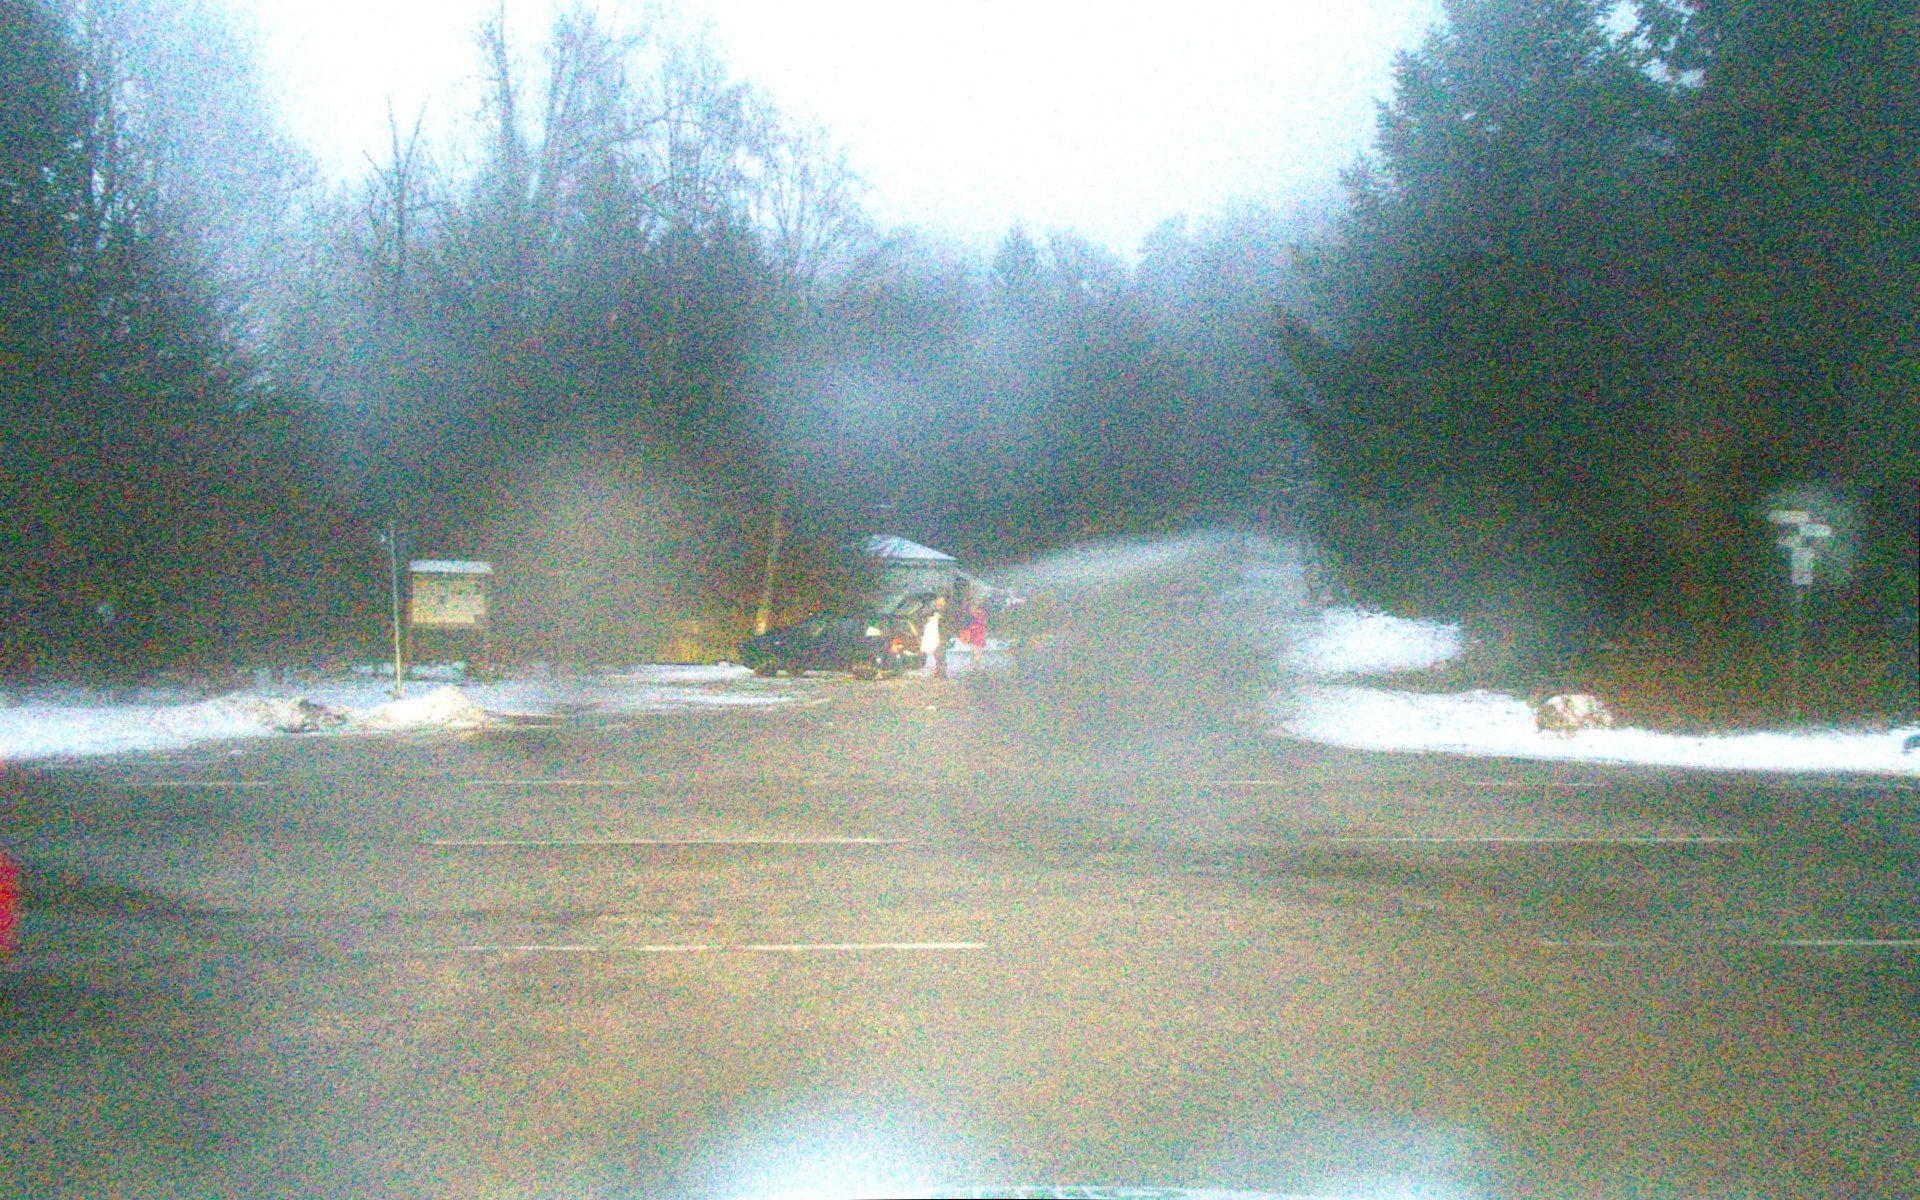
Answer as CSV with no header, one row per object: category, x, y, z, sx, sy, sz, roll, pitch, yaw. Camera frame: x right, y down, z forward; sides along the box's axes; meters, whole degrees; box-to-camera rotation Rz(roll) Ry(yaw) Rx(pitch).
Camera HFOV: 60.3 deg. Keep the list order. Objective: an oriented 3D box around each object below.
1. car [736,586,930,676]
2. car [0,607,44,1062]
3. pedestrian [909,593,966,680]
car,-2.848,0.697,37.362,3.864,1.914,2.001,1,-2,17
car,-4.815,0.737,4.969,3.381,1.478,1.554,1,-1,-40
pedestrian,-0.488,0.791,36.075,0.941,1.860,0.925,1,-2,21
